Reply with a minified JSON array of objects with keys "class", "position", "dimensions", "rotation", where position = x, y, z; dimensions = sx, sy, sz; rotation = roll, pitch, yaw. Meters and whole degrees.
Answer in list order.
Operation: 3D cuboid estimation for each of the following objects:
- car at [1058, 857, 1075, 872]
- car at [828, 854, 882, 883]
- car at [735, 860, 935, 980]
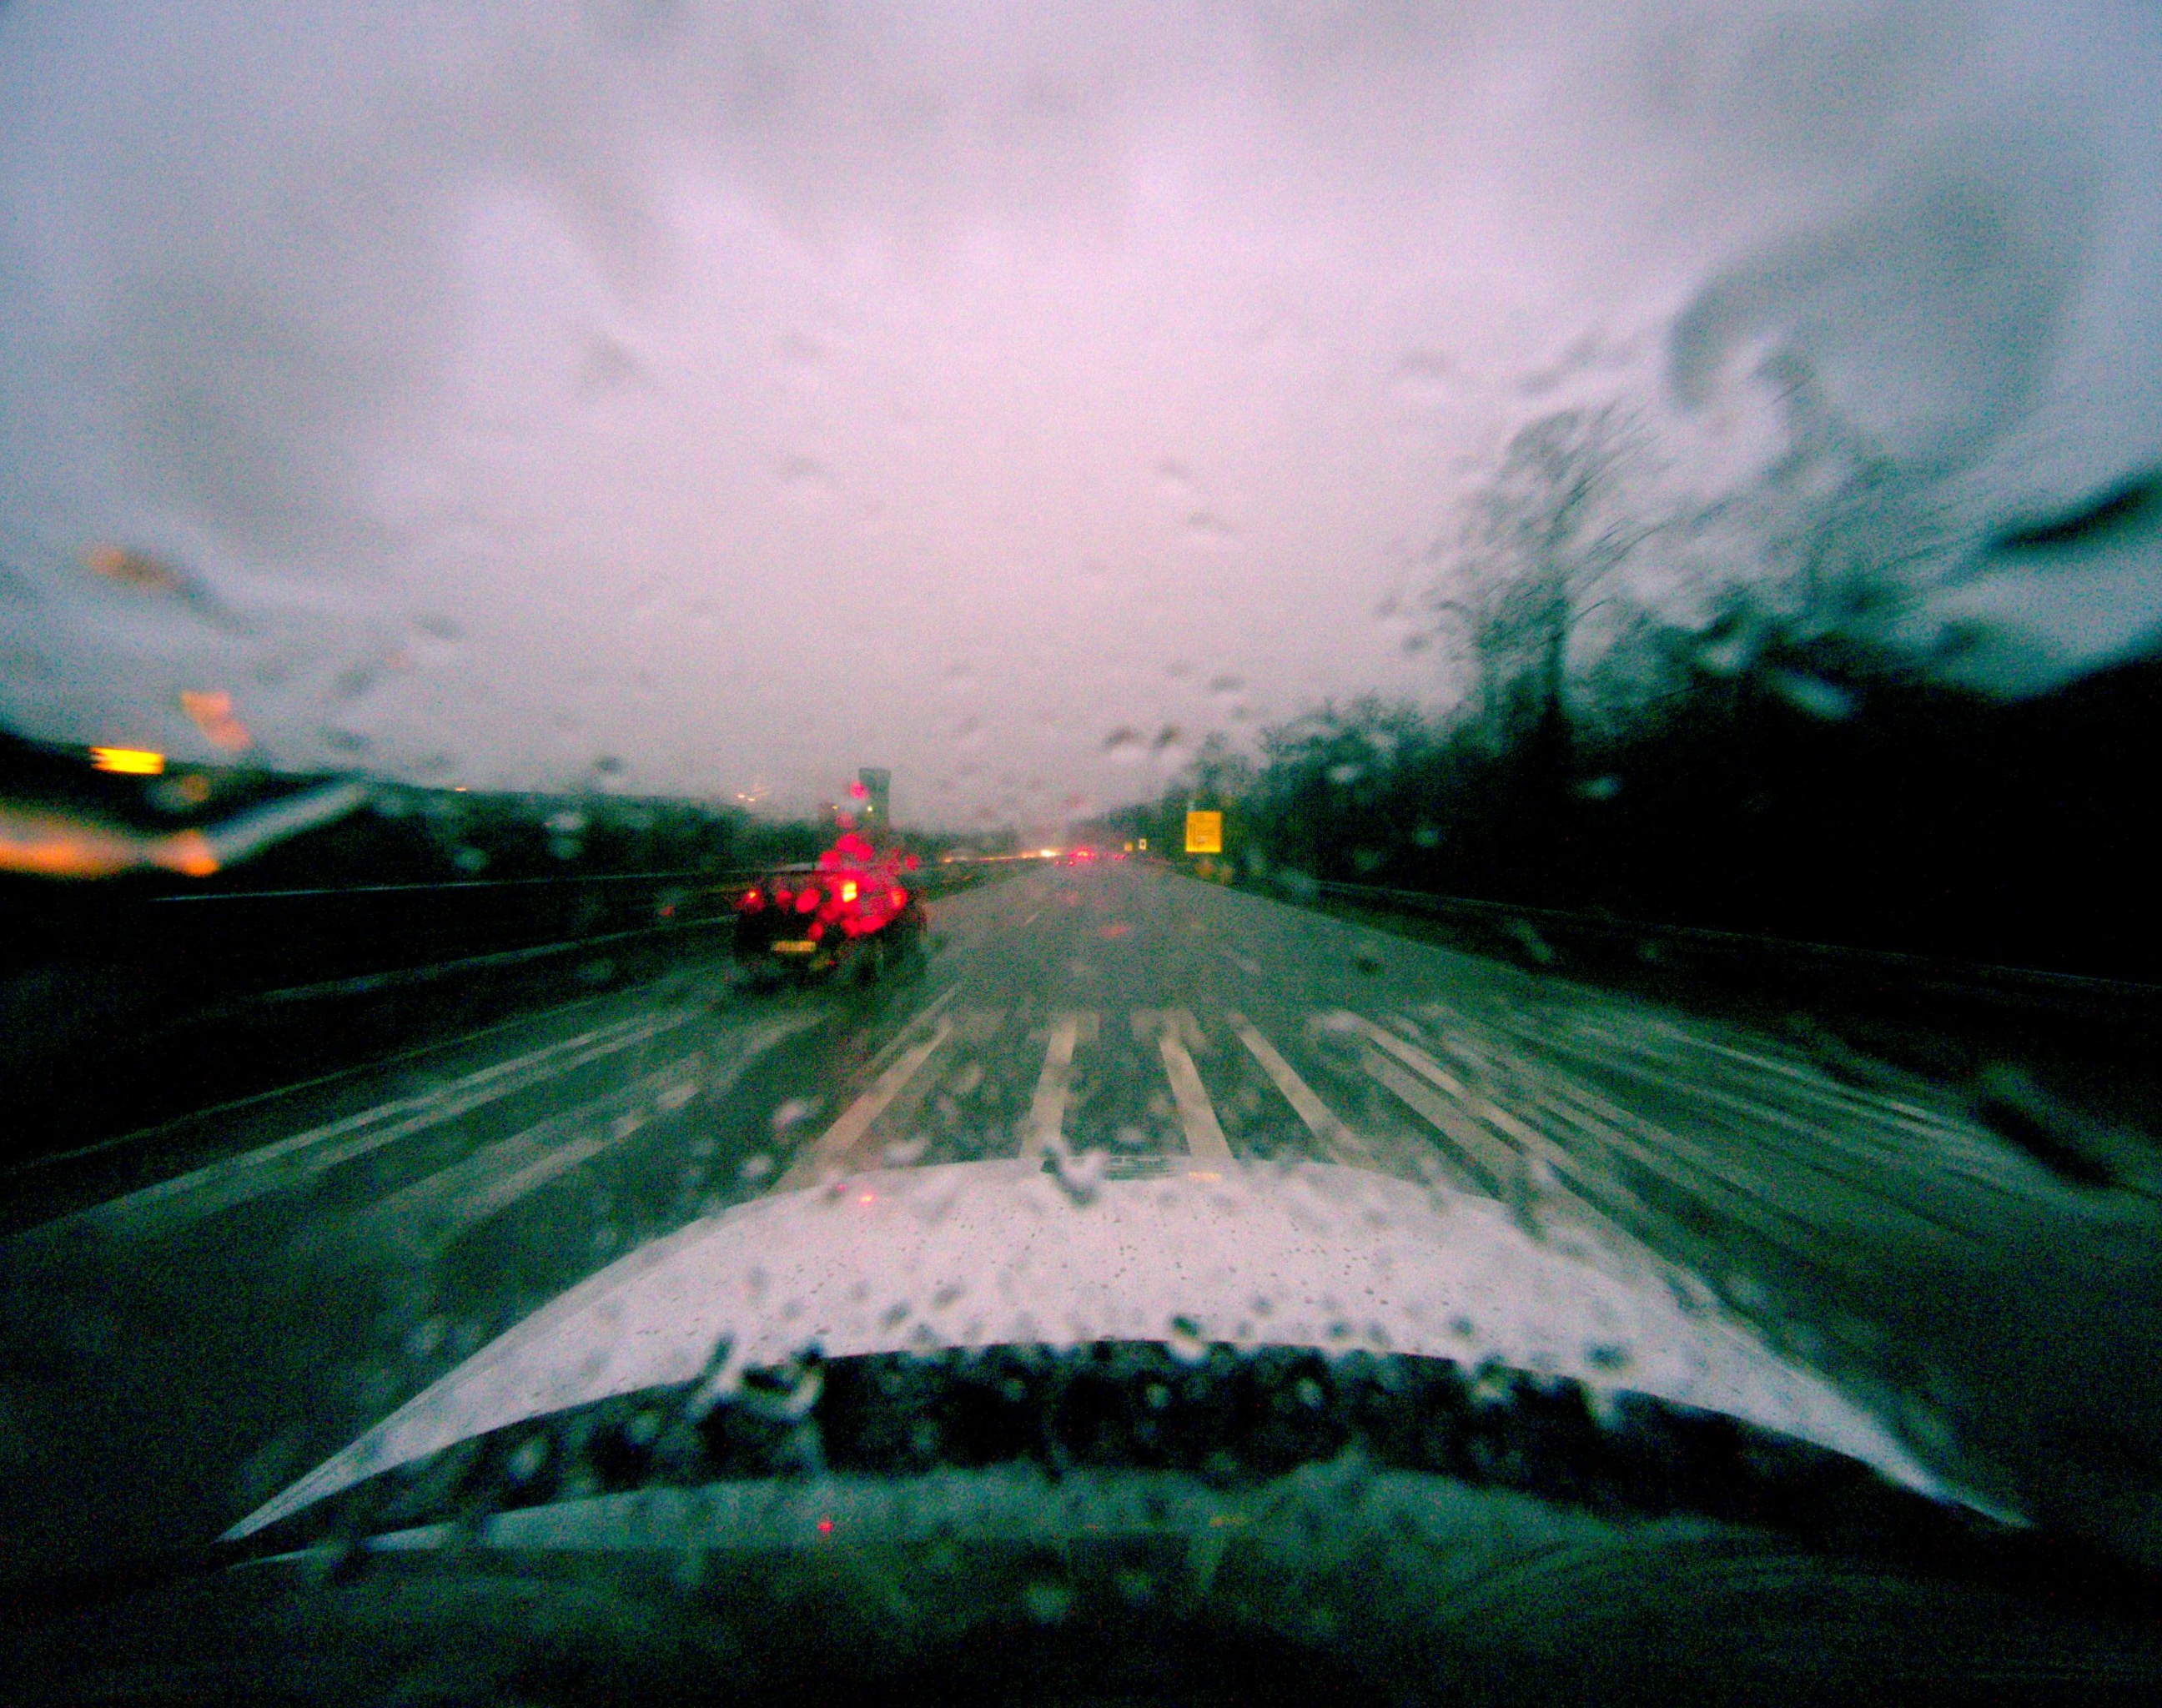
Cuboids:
[{"class":"car","position":[-1.312,0.942,74.700],"dimensions":[1.411,1.317,3.084],"rotation":[1,0,1]},{"class":"car","position":[-12.499,0.774,45.264],"dimensions":[1.730,1.508,4.002],"rotation":[0,0,2]},{"class":"car","position":[-3.303,0.808,11.754],"dimensions":[1.620,1.392,4.000],"rotation":[1,0,0]}]
